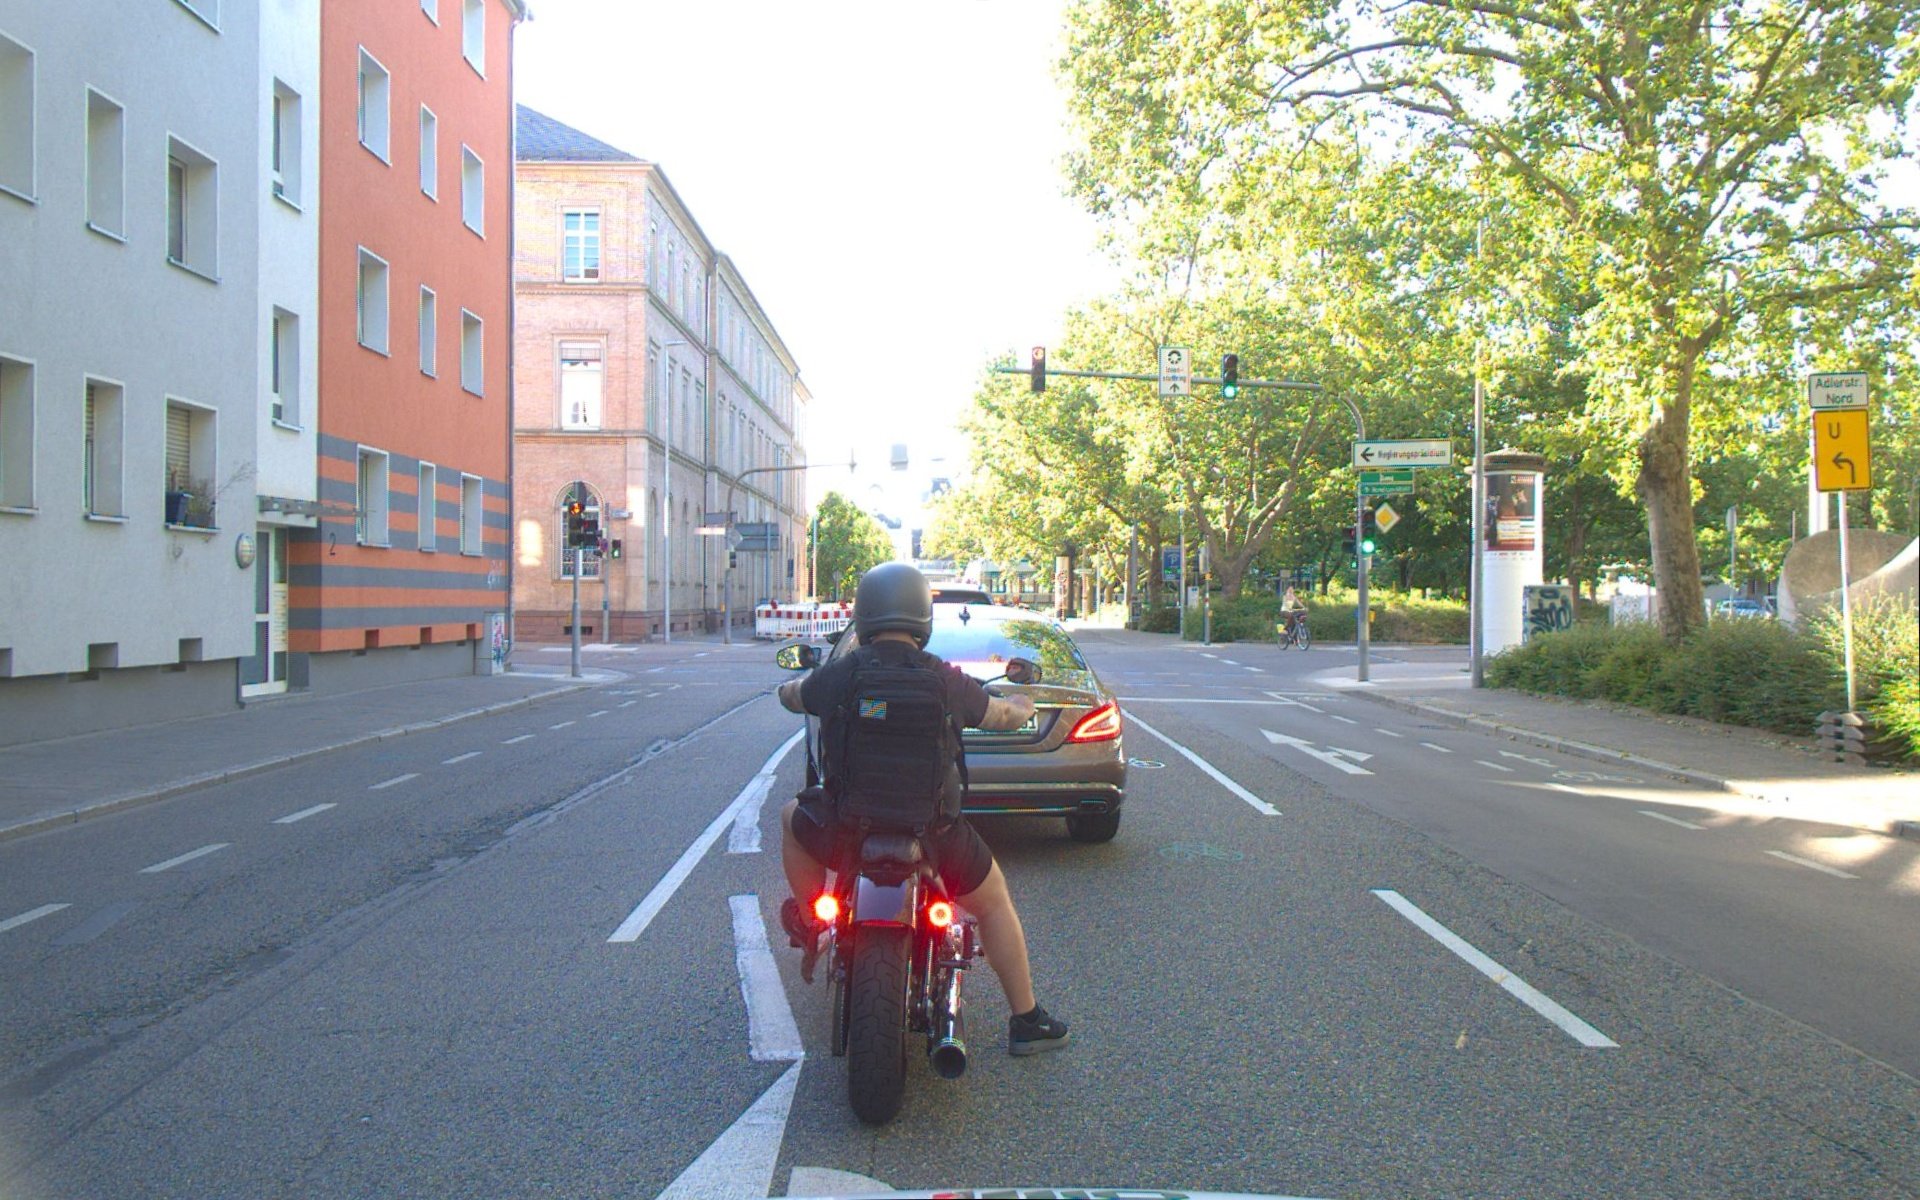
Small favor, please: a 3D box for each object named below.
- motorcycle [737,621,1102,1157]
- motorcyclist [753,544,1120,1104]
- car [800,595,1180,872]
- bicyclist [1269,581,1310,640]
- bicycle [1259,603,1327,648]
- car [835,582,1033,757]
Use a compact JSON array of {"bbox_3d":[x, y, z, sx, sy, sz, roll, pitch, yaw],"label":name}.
[{"bbox_3d":[-0.123,0.778,5.529,0.942,1.380,2.319,1,0,-1],"label":"motorcycle"},{"bbox_3d":[-0.073,0.653,5.260,1.039,1.610,0.908,1,0,-1],"label":"motorcyclist"},{"bbox_3d":[-0.026,0.704,11.072,1.867,1.466,4.280,0,0,-9],"label":"car"},{"bbox_3d":[9.129,0.298,45.867,0.707,1.610,0.928,1,-1,-25],"label":"bicyclist"},{"bbox_3d":[9.188,0.700,45.677,0.706,1.193,2.159,1,0,-24],"label":"bicycle"},{"bbox_3d":[-0.338,0.613,16.759,1.777,1.563,3.846,0,0,-3],"label":"car"}]
